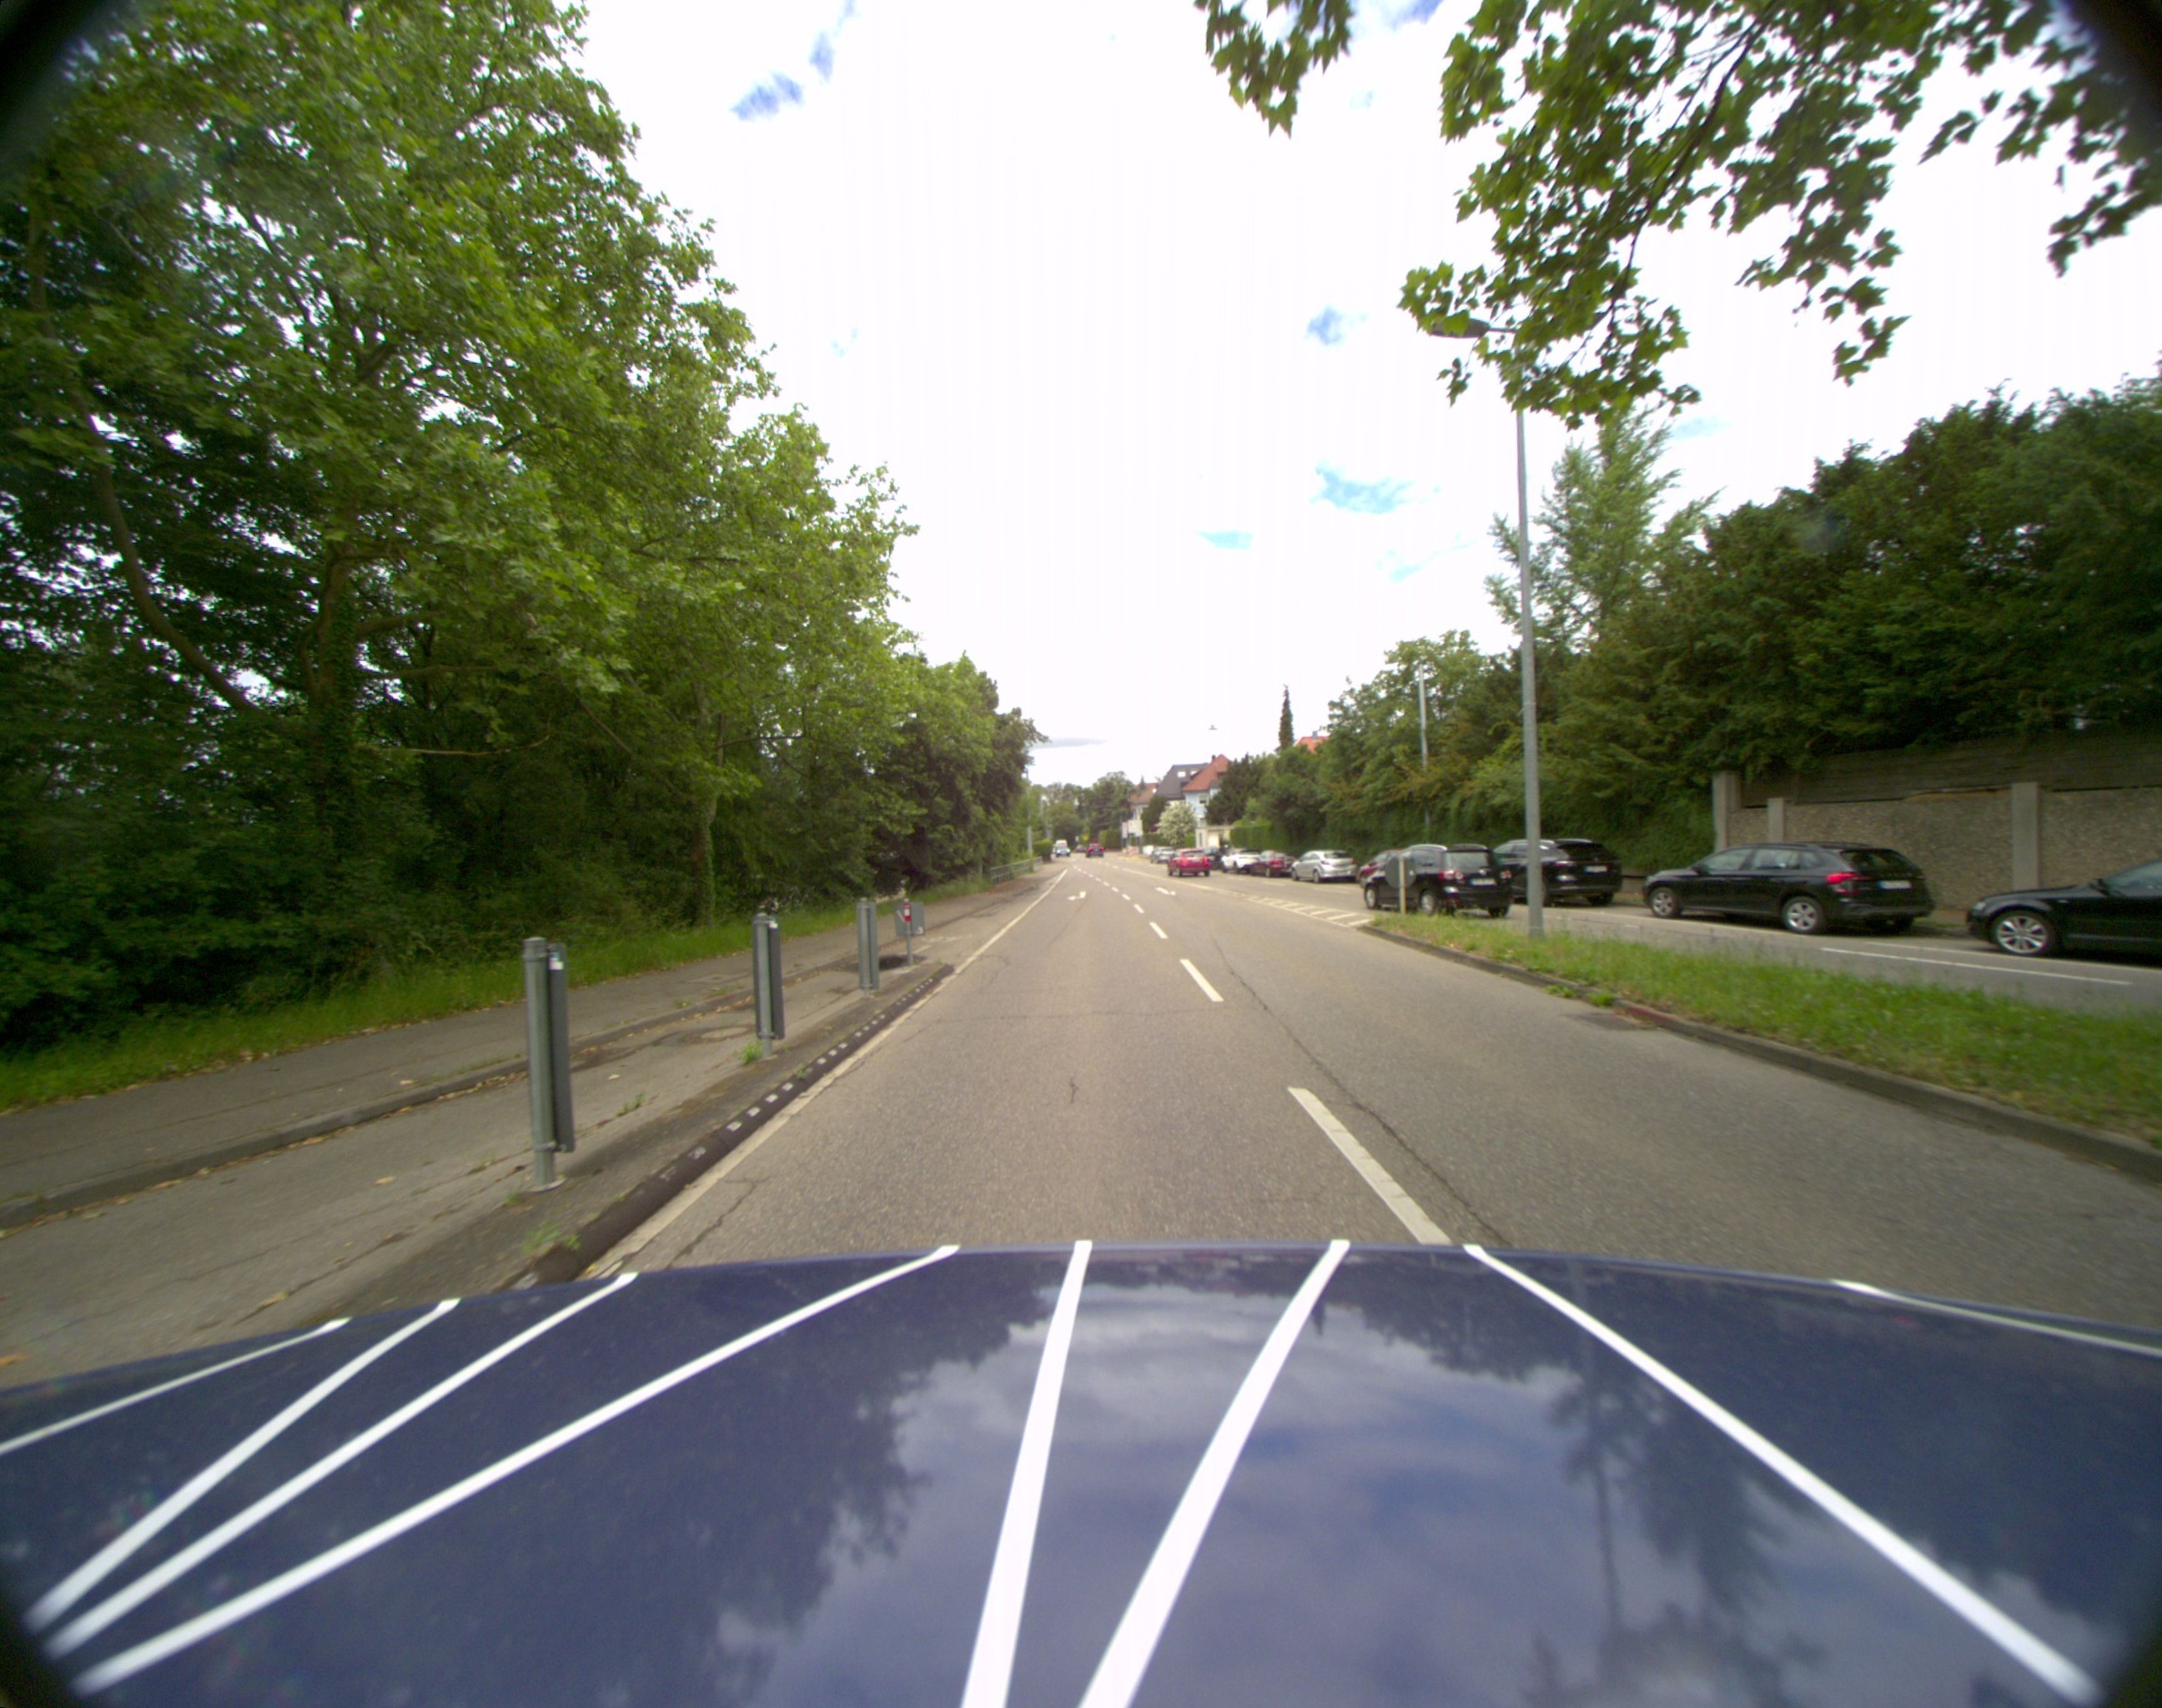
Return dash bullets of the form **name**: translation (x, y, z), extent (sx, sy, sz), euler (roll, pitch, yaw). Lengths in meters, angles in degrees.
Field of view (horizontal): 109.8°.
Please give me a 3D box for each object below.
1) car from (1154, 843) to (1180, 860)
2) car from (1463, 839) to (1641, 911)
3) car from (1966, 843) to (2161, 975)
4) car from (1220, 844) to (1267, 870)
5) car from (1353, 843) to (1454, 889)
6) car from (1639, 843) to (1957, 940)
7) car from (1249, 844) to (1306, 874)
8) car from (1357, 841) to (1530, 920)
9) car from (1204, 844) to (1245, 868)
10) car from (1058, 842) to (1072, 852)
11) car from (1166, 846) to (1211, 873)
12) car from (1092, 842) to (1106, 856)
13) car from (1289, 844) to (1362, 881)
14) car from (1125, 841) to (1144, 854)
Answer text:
- **car**: translation (7.639, -0.236, 67.669), extent (1.686, 1.321, 3.831), euler (-3, 0, -1)
- **car**: translation (11.914, 0.471, 19.579), extent (1.797, 1.594, 4.036), euler (-2, 1, -6)
- **car**: translation (13.164, 0.617, 8.441), extent (1.797, 1.496, 4.036), euler (-1, 0, -6)
- **car**: translation (9.616, 0.161, 45.220), extent (1.686, 1.496, 3.829), euler (-1, 0, -6)
- **car**: translation (11.349, 0.397, 27.032), extent (1.686, 1.496, 3.829), euler (-1, 0, -6)
- **car**: translation (12.690, 0.573, 13.867), extent (1.797, 1.496, 4.036), euler (-1, 0, -6)
- **car**: translation (10.235, 0.234, 39.867), extent (1.686, 1.496, 3.829), euler (-1, 0, -6)
- **car**: translation (8.107, 0.533, 17.431), extent (1.844, 1.606, 3.911), euler (-1, 0, -5)
- **car**: translation (9.523, 0.111, 50.683), extent (1.686, 1.496, 3.829), euler (-1, 0, -6)
- **car**: translation (-2.262, -0.977, 106.434), extent (1.797, 1.420, 4.145), euler (-1, 0, -4)
- **car**: translation (6.122, 0.301, 43.458), extent (1.686, 1.496, 3.829), euler (-1, 0, -6)
- **car**: translation (2.198, -0.612, 92.566), extent (1.671, 1.536, 3.999), euler (-2, 1, 1)
- **car**: translation (10.740, 0.349, 33.608), extent (1.686, 1.496, 3.829), euler (-1, 0, -6)
- **car**: translation (5.905, -0.719, 84.305), extent (1.686, 1.321, 3.831), euler (-3, 0, -1)
